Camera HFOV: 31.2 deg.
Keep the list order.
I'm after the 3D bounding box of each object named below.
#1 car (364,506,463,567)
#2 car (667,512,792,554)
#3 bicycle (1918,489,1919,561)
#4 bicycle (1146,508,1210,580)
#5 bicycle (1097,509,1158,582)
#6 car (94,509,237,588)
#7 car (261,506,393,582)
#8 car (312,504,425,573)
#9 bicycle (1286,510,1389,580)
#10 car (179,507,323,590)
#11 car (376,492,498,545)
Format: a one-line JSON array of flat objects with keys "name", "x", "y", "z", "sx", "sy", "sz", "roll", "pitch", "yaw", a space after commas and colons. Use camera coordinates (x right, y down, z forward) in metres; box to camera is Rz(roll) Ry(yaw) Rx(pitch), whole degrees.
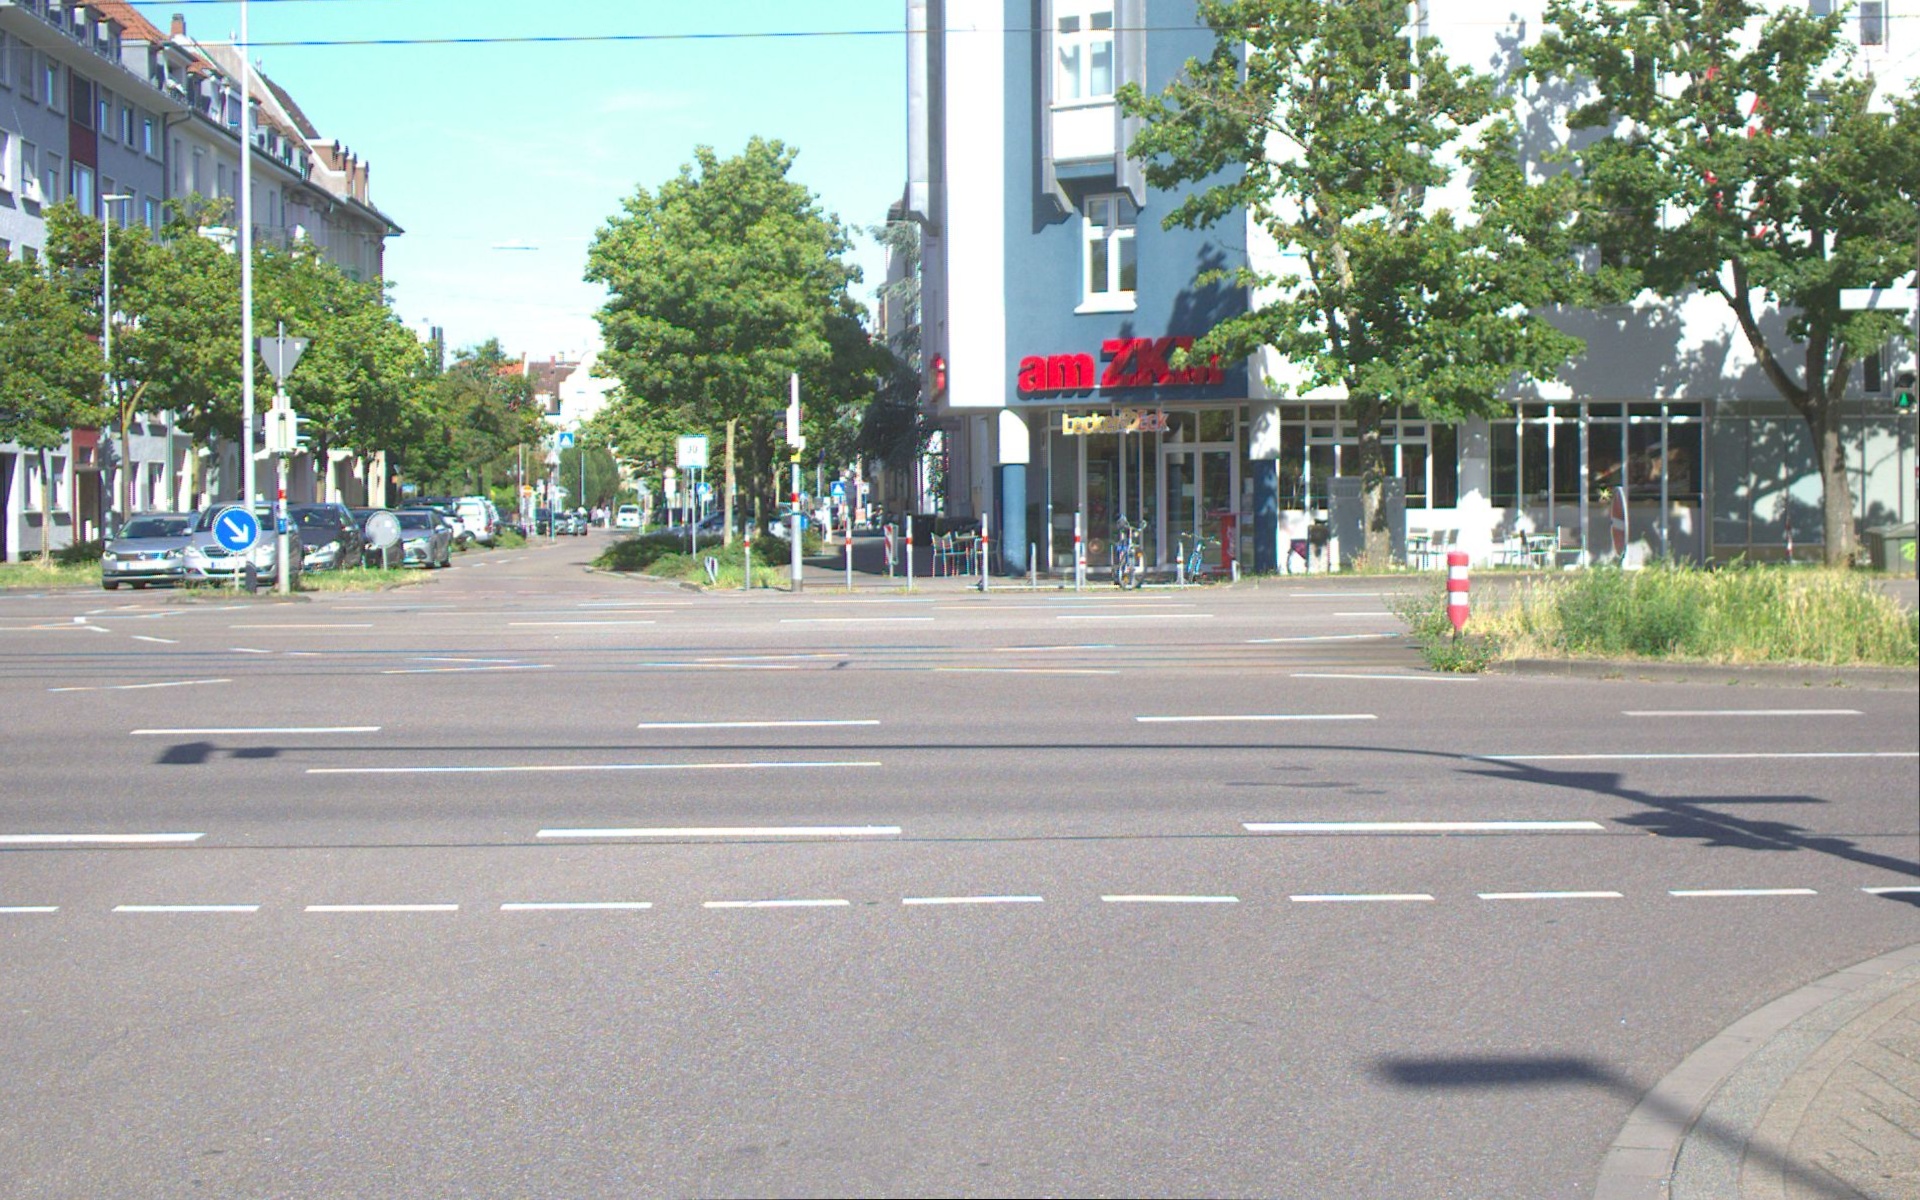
[{"name": "car", "x": -13.564, "y": -1.594, "z": 85.538, "sx": 1.688, "sy": 1.427, "sz": 4.400, "roll": 2, "pitch": 1, "yaw": 1}, {"name": "car", "x": -6.879, "y": -1.997, "z": 102.373, "sx": 3.566, "sy": 1.219, "sz": 1.731, "roll": 0, "pitch": 1, "yaw": -9}, {"name": "bicycle", "x": 16.632, "y": -1.237, "z": 56.082, "sx": 1.863, "sy": 1.178, "sz": 0.562, "roll": -1, "pitch": 2, "yaw": -6}, {"name": "bicycle", "x": 3.156, "y": -0.816, "z": 49.859, "sx": 0.471, "sy": 1.023, "sz": 1.517, "roll": -1, "pitch": 2, "yaw": -14}, {"name": "bicycle", "x": 2.400, "y": -0.786, "z": 49.322, "sx": 0.471, "sy": 1.023, "sz": 1.517, "roll": -1, "pitch": 2, "yaw": -13}, {"name": "car", "x": -15.403, "y": -1.018, "z": 66.850, "sx": 1.688, "sy": 1.427, "sz": 4.400, "roll": 2, "pitch": 1, "yaw": 1}, {"name": "car", "x": -12.886, "y": -1.154, "z": 70.241, "sx": 1.688, "sy": 1.427, "sz": 4.400, "roll": 2, "pitch": 1, "yaw": 2}, {"name": "car", "x": -13.093, "y": -1.380, "z": 76.309, "sx": 1.688, "sy": 1.427, "sz": 4.400, "roll": 2, "pitch": 1, "yaw": 1}, {"name": "bicycle", "x": 5.674, "y": -0.828, "z": 51.656, "sx": 1.512, "sy": 1.023, "sz": 0.473, "roll": 0, "pitch": 2, "yaw": 9}, {"name": "car", "x": -13.091, "y": -0.961, "z": 63.716, "sx": 1.688, "sy": 1.427, "sz": 4.400, "roll": 2, "pitch": 1, "yaw": 1}, {"name": "car", "x": -20.203, "y": -3.150, "z": 132.958, "sx": 4.504, "sy": 2.007, "sz": 2.000, "roll": 0, "pitch": 0, "yaw": -4}]
